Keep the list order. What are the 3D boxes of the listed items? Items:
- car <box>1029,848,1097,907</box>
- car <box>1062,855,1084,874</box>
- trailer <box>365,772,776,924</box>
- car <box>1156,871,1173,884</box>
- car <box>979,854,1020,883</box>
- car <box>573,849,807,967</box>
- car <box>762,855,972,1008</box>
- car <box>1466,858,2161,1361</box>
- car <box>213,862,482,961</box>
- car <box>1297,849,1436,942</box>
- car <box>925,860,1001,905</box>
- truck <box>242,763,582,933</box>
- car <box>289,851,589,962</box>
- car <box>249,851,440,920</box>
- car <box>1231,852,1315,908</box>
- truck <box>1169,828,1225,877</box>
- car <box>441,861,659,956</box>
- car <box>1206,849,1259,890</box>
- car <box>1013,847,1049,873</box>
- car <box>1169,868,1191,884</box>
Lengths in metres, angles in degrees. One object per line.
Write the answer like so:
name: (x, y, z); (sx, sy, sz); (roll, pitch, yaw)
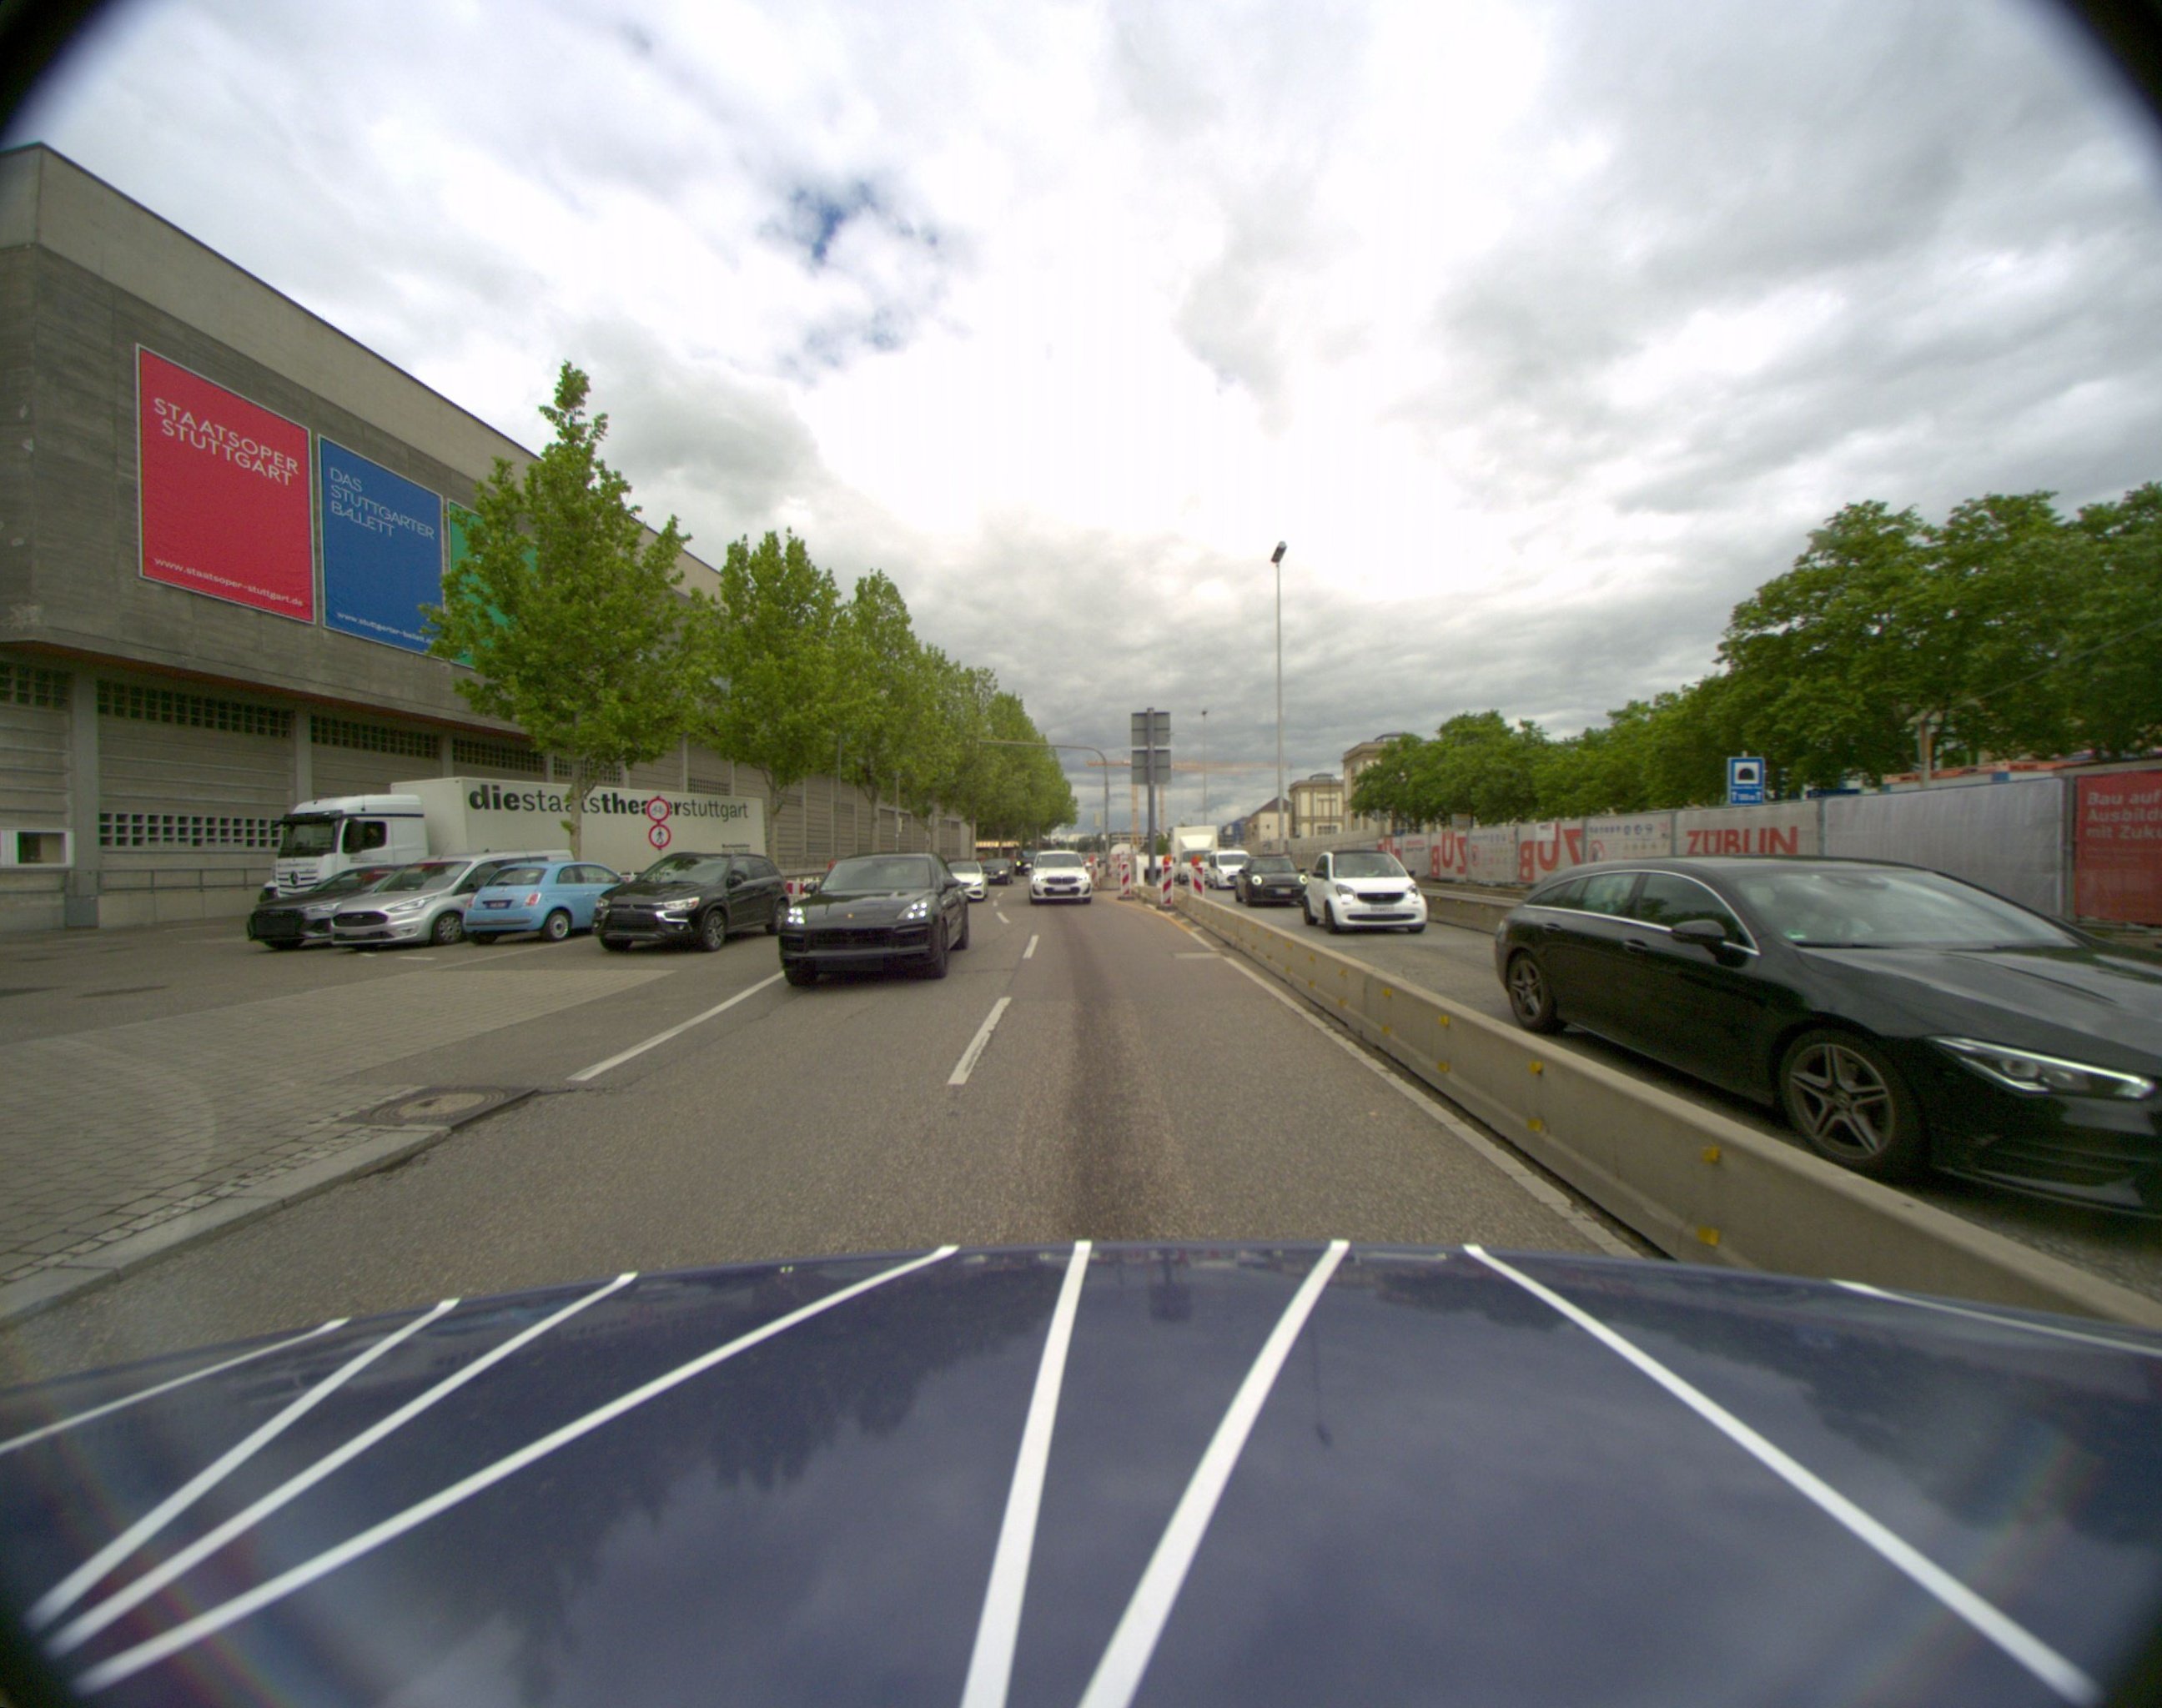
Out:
car: (-0.667, 0.645, 23.946); (1.856, 1.618, 4.904); (-2, 1, -4)
car: (-0.645, 0.815, 63.024); (1.612, 1.464, 3.623); (-1, 0, 3)
trailer: (-17.078, -0.280, 28.052); (3.153, 4.077, 13.983); (-3, 1, 13)
car: (11.653, 3.250, 105.992); (1.872, 1.499, 3.999); (-3, 1, 0)
car: (-4.383, 0.767, 41.418); (1.612, 1.464, 3.623); (-1, 0, 3)
car: (-6.754, 0.841, 13.794); (1.809, 1.728, 4.486); (-2, 0, 1)
car: (-2.730, 0.881, 10.770); (1.908, 1.648, 4.199); (-2, 0, -3)
car: (4.278, 0.792, 4.531); (1.858, 1.407, 4.566); (-2, 0, 4)
car: (-14.879, 1.078, 15.741); (1.718, 1.679, 3.762); (-2, 0, 4)
car: (5.315, 0.707, 14.518); (1.633, 1.546, 3.003); (-2, 0, 4)
car: (-4.083, 0.963, 26.950); (1.934, 1.368, 4.000); (-2, 0, 2)
truck: (-18.614, -0.158, 21.883); (3.137, 4.061, 6.579); (-2, 1, 13)
car: (-12.545, 0.901, 15.367); (1.809, 1.773, 4.622); (-4, 0, 4)
car: (-22.311, 0.885, 23.257); (1.558, 1.871, 4.002); (-2, 0, 9)
car: (5.506, 0.683, 22.214); (1.651, 1.430, 3.936); (-2, 0, 4)
truck: (6.980, -0.111, 46.628); (2.977, 2.757, 7.258); (-1, 0, 6)
car: (-10.130, 0.965, 14.850); (1.583, 1.521, 3.504); (-2, 0, 4)
car: (6.855, 0.647, 34.747); (1.842, 1.751, 4.481); (-1, 0, 4)
car: (-3.763, 0.435, 57.811); (1.951, 1.914, 4.401); (-1, 0, 6)
car: (10.864, 2.426, 83.687); (1.872, 1.499, 3.999); (-3, 1, 0)
